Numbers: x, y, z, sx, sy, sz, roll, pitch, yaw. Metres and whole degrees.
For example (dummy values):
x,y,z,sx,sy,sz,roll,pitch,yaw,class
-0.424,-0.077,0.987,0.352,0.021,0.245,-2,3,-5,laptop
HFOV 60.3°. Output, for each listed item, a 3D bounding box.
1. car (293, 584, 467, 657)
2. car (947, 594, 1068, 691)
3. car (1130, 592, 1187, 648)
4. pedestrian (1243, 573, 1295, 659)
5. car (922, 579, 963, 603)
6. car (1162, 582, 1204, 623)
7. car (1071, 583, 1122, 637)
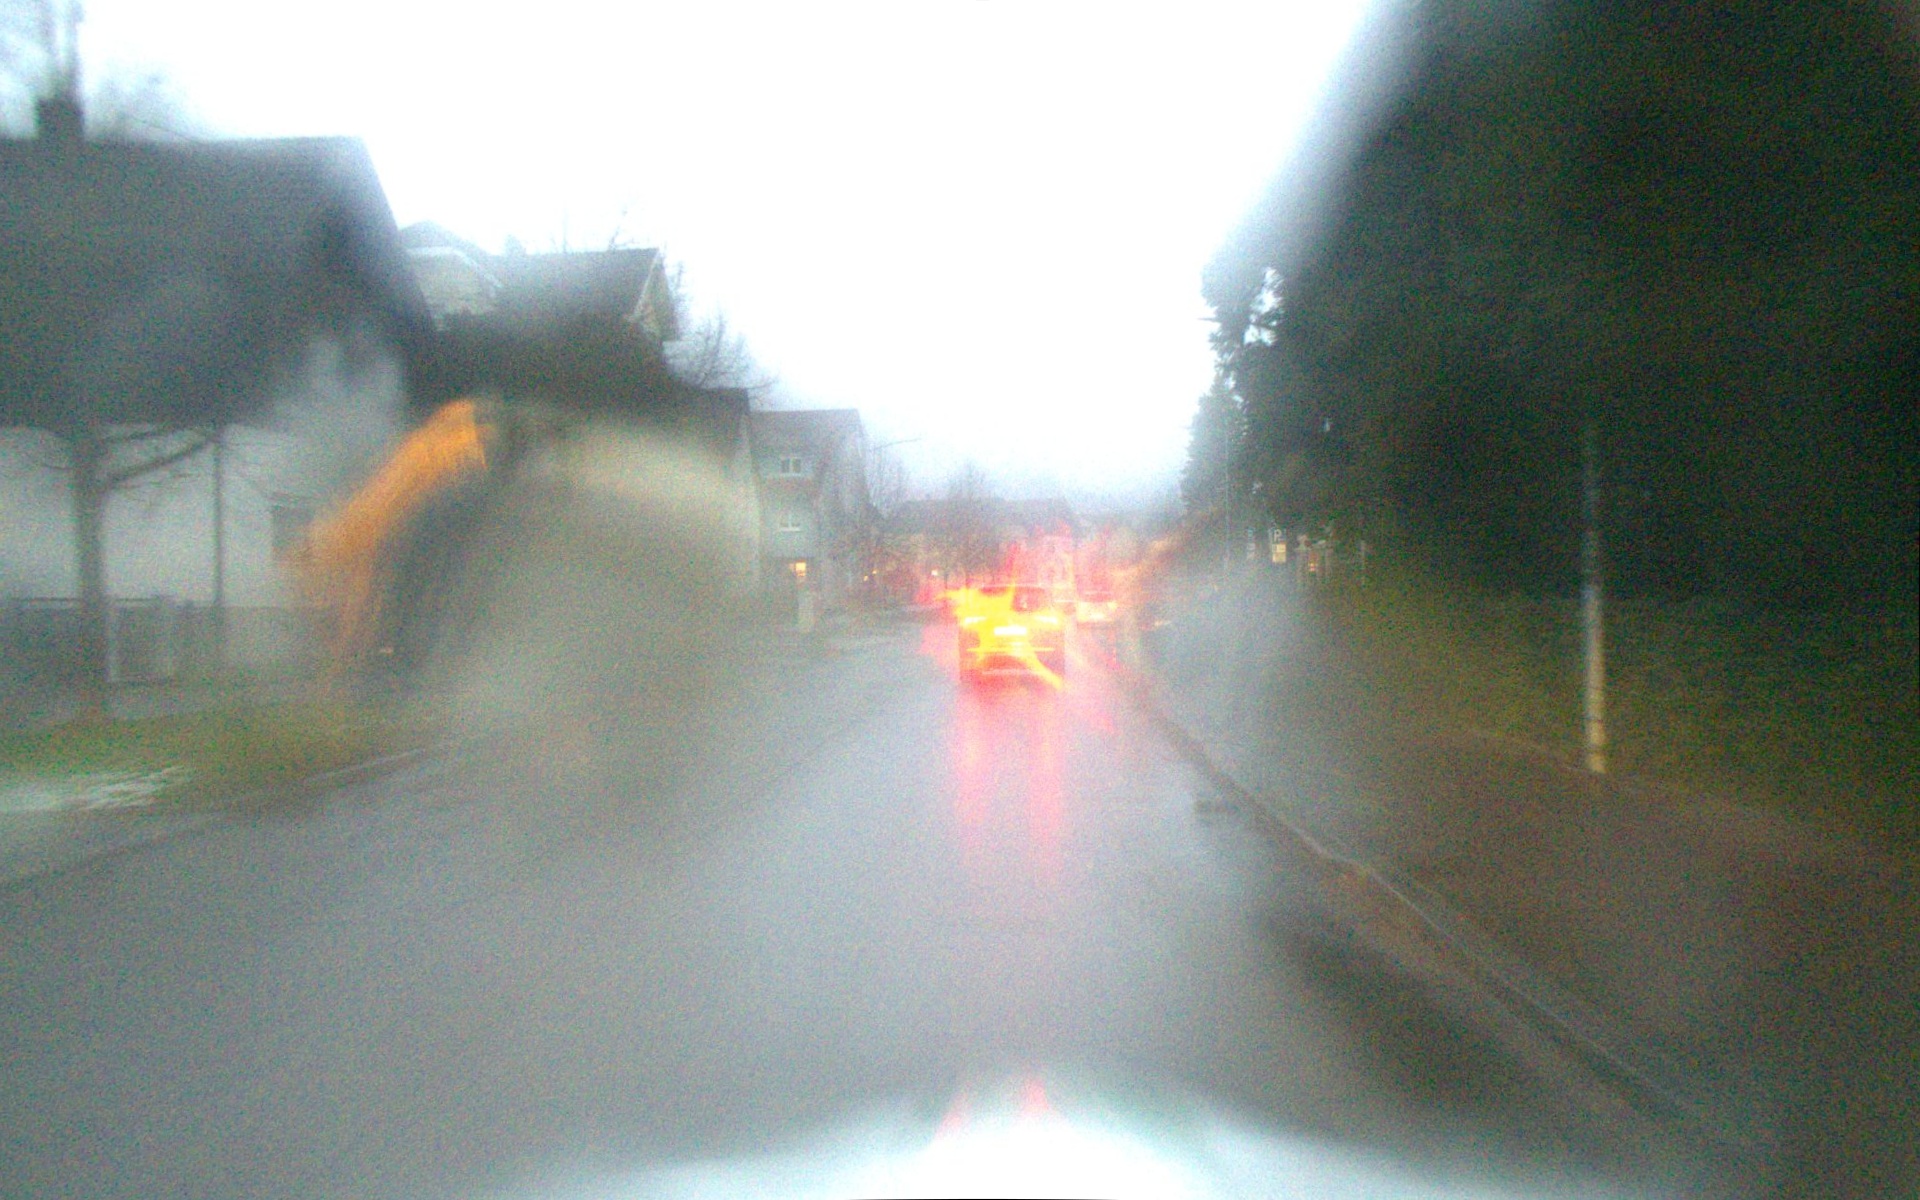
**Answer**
x,y,z,sx,sy,sz,roll,pitch,yaw,class
-11.853,0.412,34.094,1.744,1.390,4.003,1,-1,8,car
0.849,0.692,28.860,1.952,1.552,4.001,0,0,2,car
5.917,0.588,49.181,1.614,1.567,3.393,1,0,7,car
6.558,0.346,35.177,0.966,1.772,1.057,-2,-1,7,pedestrian
-1.477,-0.762,142.335,1.954,2.049,3.997,2,1,25,car
12.015,0.131,89.017,1.935,2.049,5.750,-2,0,10,car
5.458,0.407,66.135,1.951,2.049,4.002,1,-1,5,car
